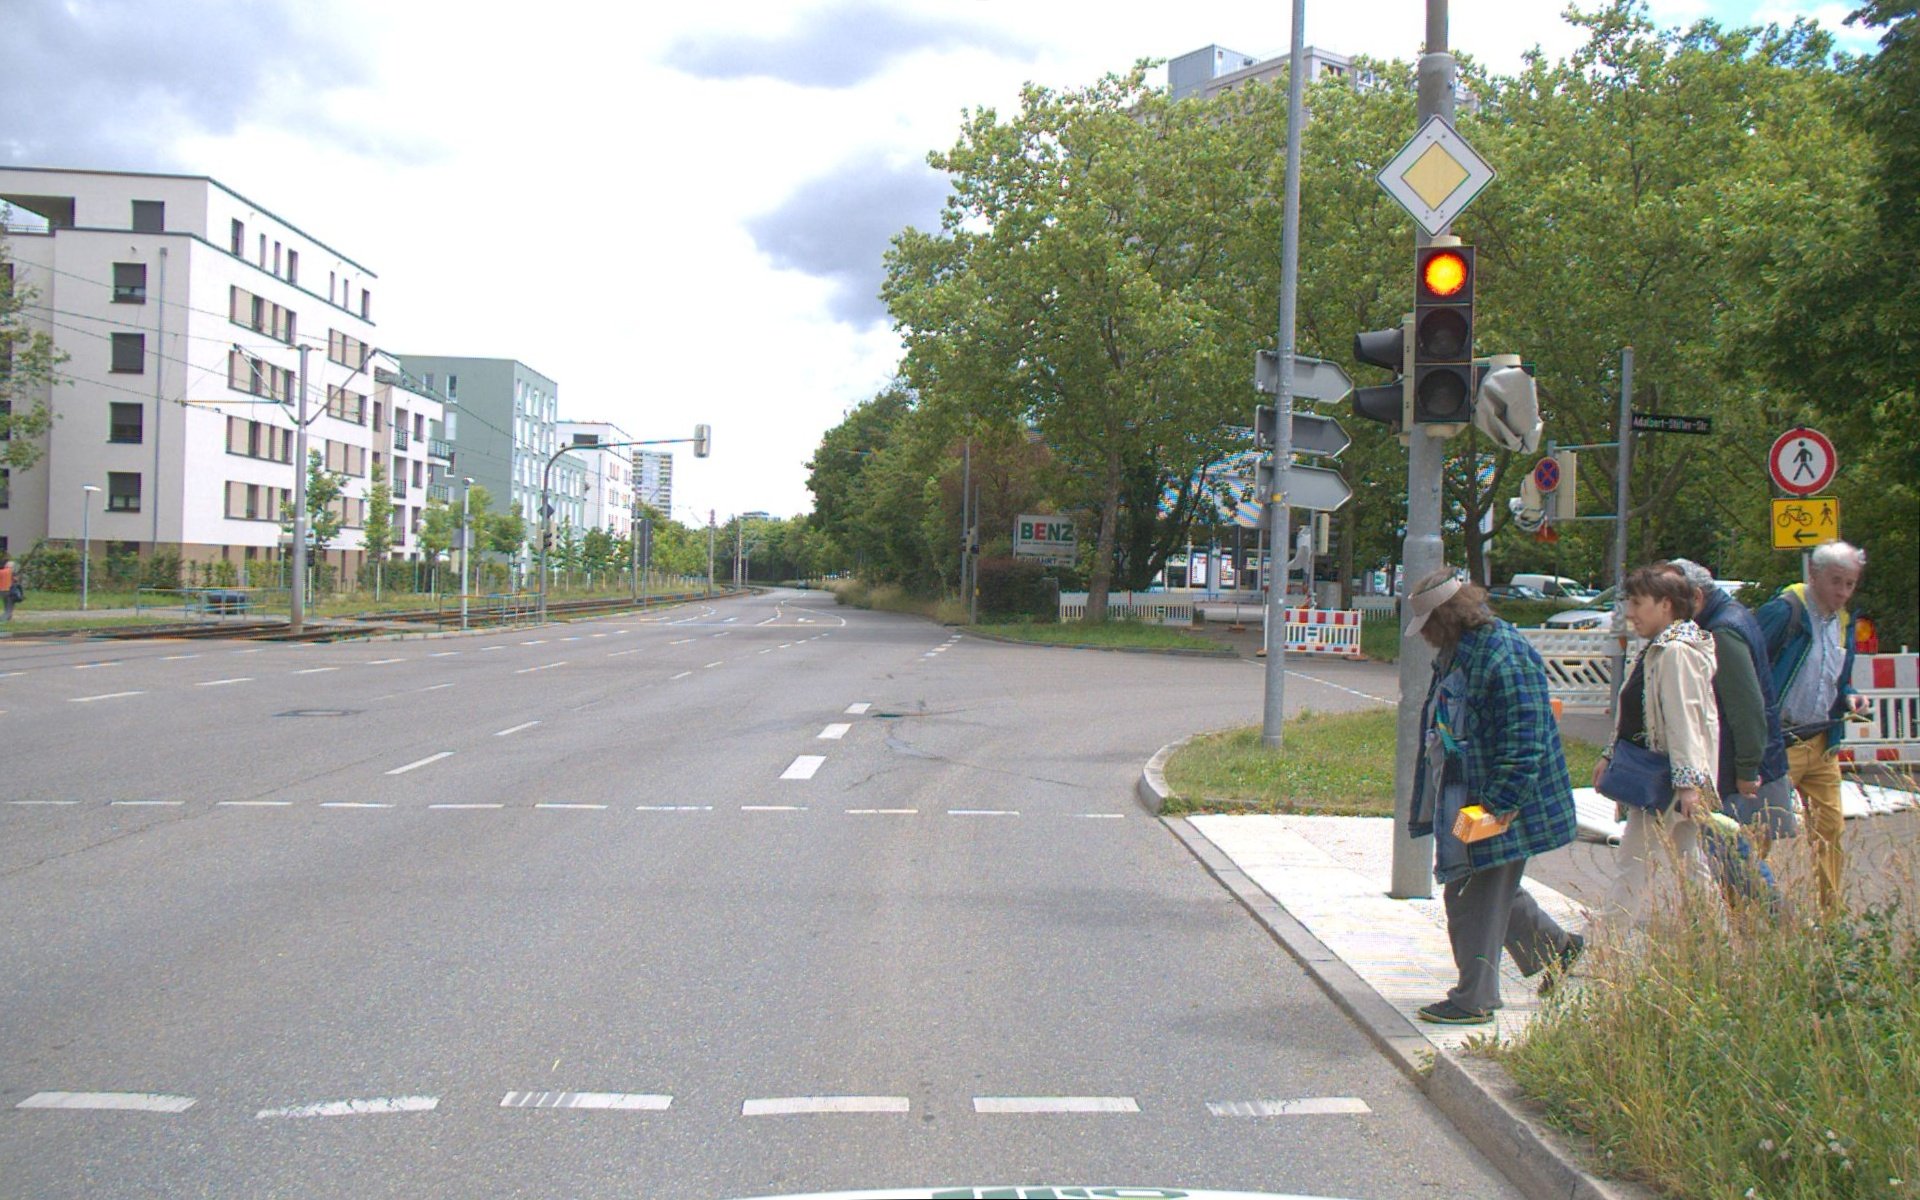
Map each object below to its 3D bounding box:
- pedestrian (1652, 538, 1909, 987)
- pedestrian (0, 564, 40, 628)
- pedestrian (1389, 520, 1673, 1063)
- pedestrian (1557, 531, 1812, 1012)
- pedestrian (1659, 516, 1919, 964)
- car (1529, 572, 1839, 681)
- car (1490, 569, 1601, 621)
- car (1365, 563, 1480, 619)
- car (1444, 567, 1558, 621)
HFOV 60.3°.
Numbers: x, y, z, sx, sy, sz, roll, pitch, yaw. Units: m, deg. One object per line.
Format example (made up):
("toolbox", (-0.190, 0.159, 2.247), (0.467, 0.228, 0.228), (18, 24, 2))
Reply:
("pedestrian", (3.271, 0.595, 6.664), (0.851, 1.663, 0.765), (1, 1, 24))
("pedestrian", (-23.190, -0.104, 40.645), (0.814, 1.542, 0.636), (1, 0, -1))
("pedestrian", (1.906, 0.594, 5.634), (0.805, 1.700, 0.734), (1, 0, 12))
("pedestrian", (2.702, 0.586, 6.228), (0.805, 1.668, 0.733), (1, 1, 22))
("pedestrian", (3.833, 0.557, 7.342), (0.938, 1.805, 1.000), (0, 0, -36))
("car", (13.432, 0.482, 30.847), (4.976, 1.906, 1.947), (1, 0, -5))
("car", (23.932, -0.213, 67.685), (1.974, 2.049, 3.957), (0, 1, -32))
("car", (17.521, -0.341, 62.814), (1.974, 2.049, 3.957), (0, 1, -32))
("car", (21.365, -0.264, 65.449), (1.974, 2.049, 3.957), (0, 1, -32))
